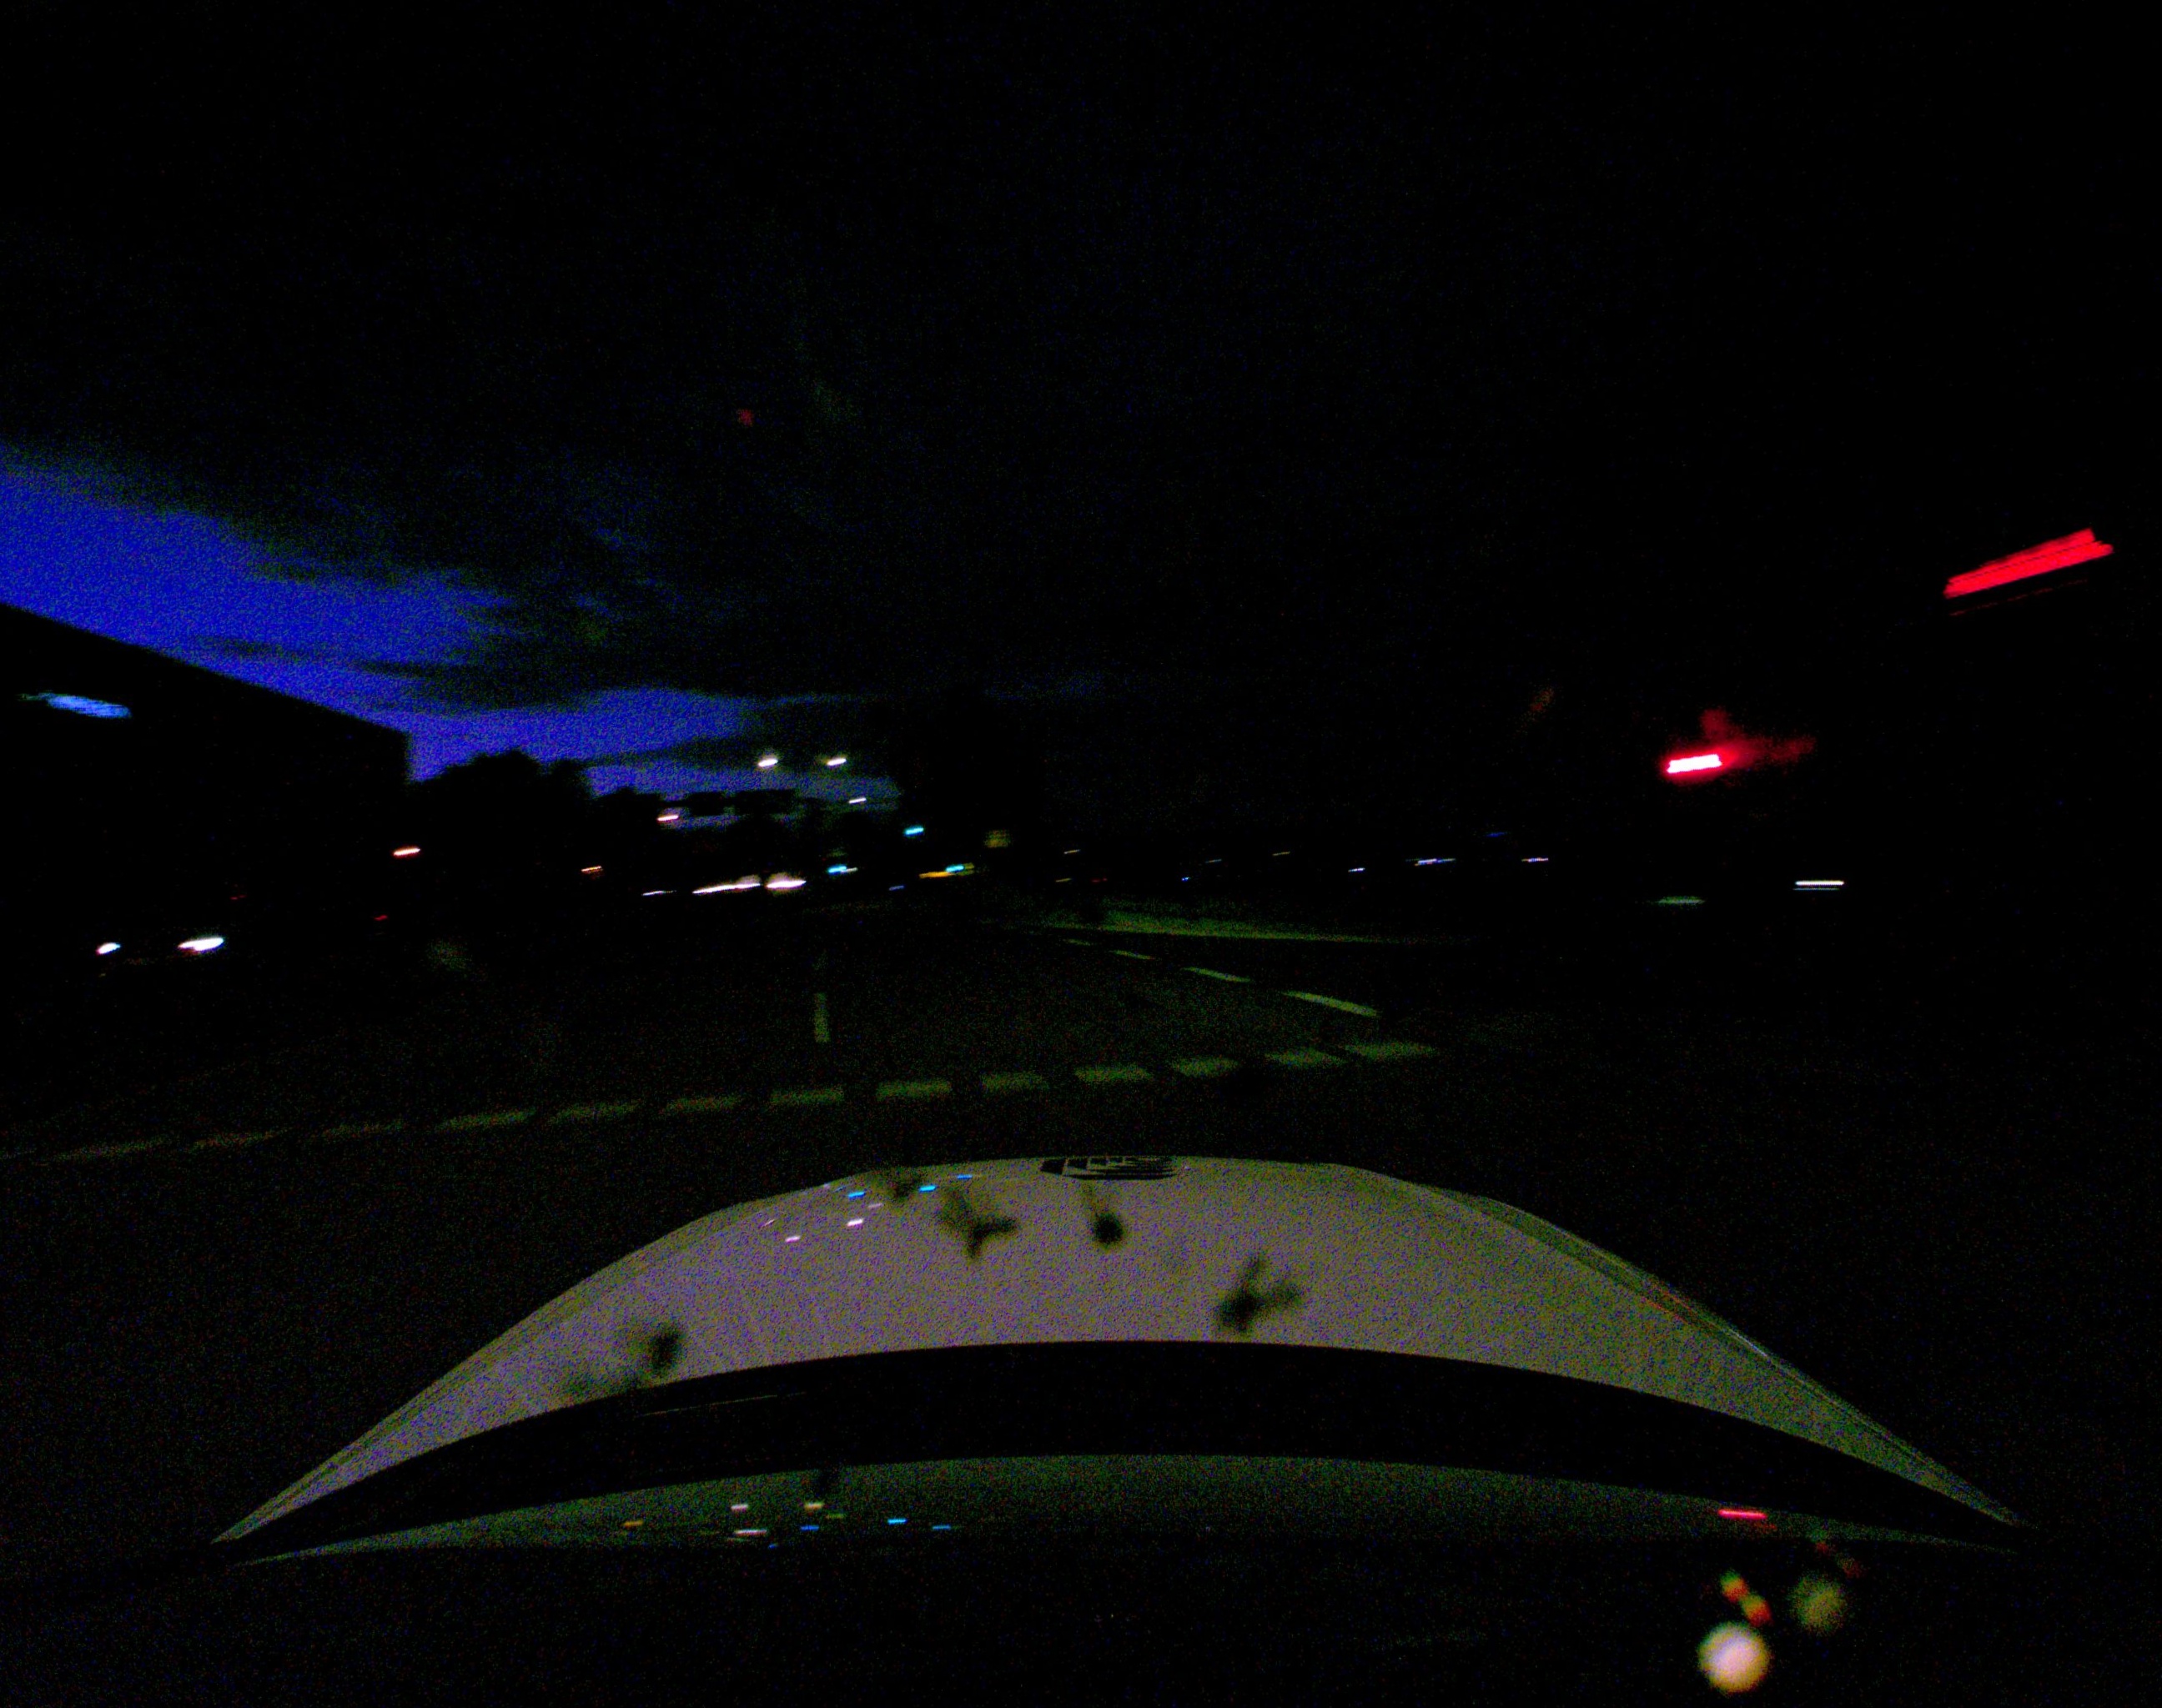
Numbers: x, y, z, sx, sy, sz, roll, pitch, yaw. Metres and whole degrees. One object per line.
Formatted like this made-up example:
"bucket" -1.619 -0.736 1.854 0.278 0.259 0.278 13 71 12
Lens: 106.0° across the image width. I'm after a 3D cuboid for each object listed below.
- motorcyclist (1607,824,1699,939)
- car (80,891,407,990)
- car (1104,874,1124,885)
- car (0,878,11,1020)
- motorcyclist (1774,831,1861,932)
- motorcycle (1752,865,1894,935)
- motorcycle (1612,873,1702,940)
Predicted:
"motorcyclist" 9.406 0.484 13.401 0.874 1.810 0.906 4 -8 -37
"car" -15.635 1.514 15.692 1.871 1.398 4.821 -2 -1 -10
"car" 6.519 4.970 160.299 1.974 2.013 4.026 -1 0 36
"car" -14.421 1.216 8.025 1.843 1.814 4.760 -2 -1 -8
"motorcyclist" 13.087 0.503 14.485 0.787 1.760 0.682 0 -5 -9
"motorcycle" 13.146 0.818 14.461 1.815 1.182 0.847 0 -5 -9
"motorcycle" 9.483 0.889 13.397 1.584 1.034 0.715 4 -8 -38
